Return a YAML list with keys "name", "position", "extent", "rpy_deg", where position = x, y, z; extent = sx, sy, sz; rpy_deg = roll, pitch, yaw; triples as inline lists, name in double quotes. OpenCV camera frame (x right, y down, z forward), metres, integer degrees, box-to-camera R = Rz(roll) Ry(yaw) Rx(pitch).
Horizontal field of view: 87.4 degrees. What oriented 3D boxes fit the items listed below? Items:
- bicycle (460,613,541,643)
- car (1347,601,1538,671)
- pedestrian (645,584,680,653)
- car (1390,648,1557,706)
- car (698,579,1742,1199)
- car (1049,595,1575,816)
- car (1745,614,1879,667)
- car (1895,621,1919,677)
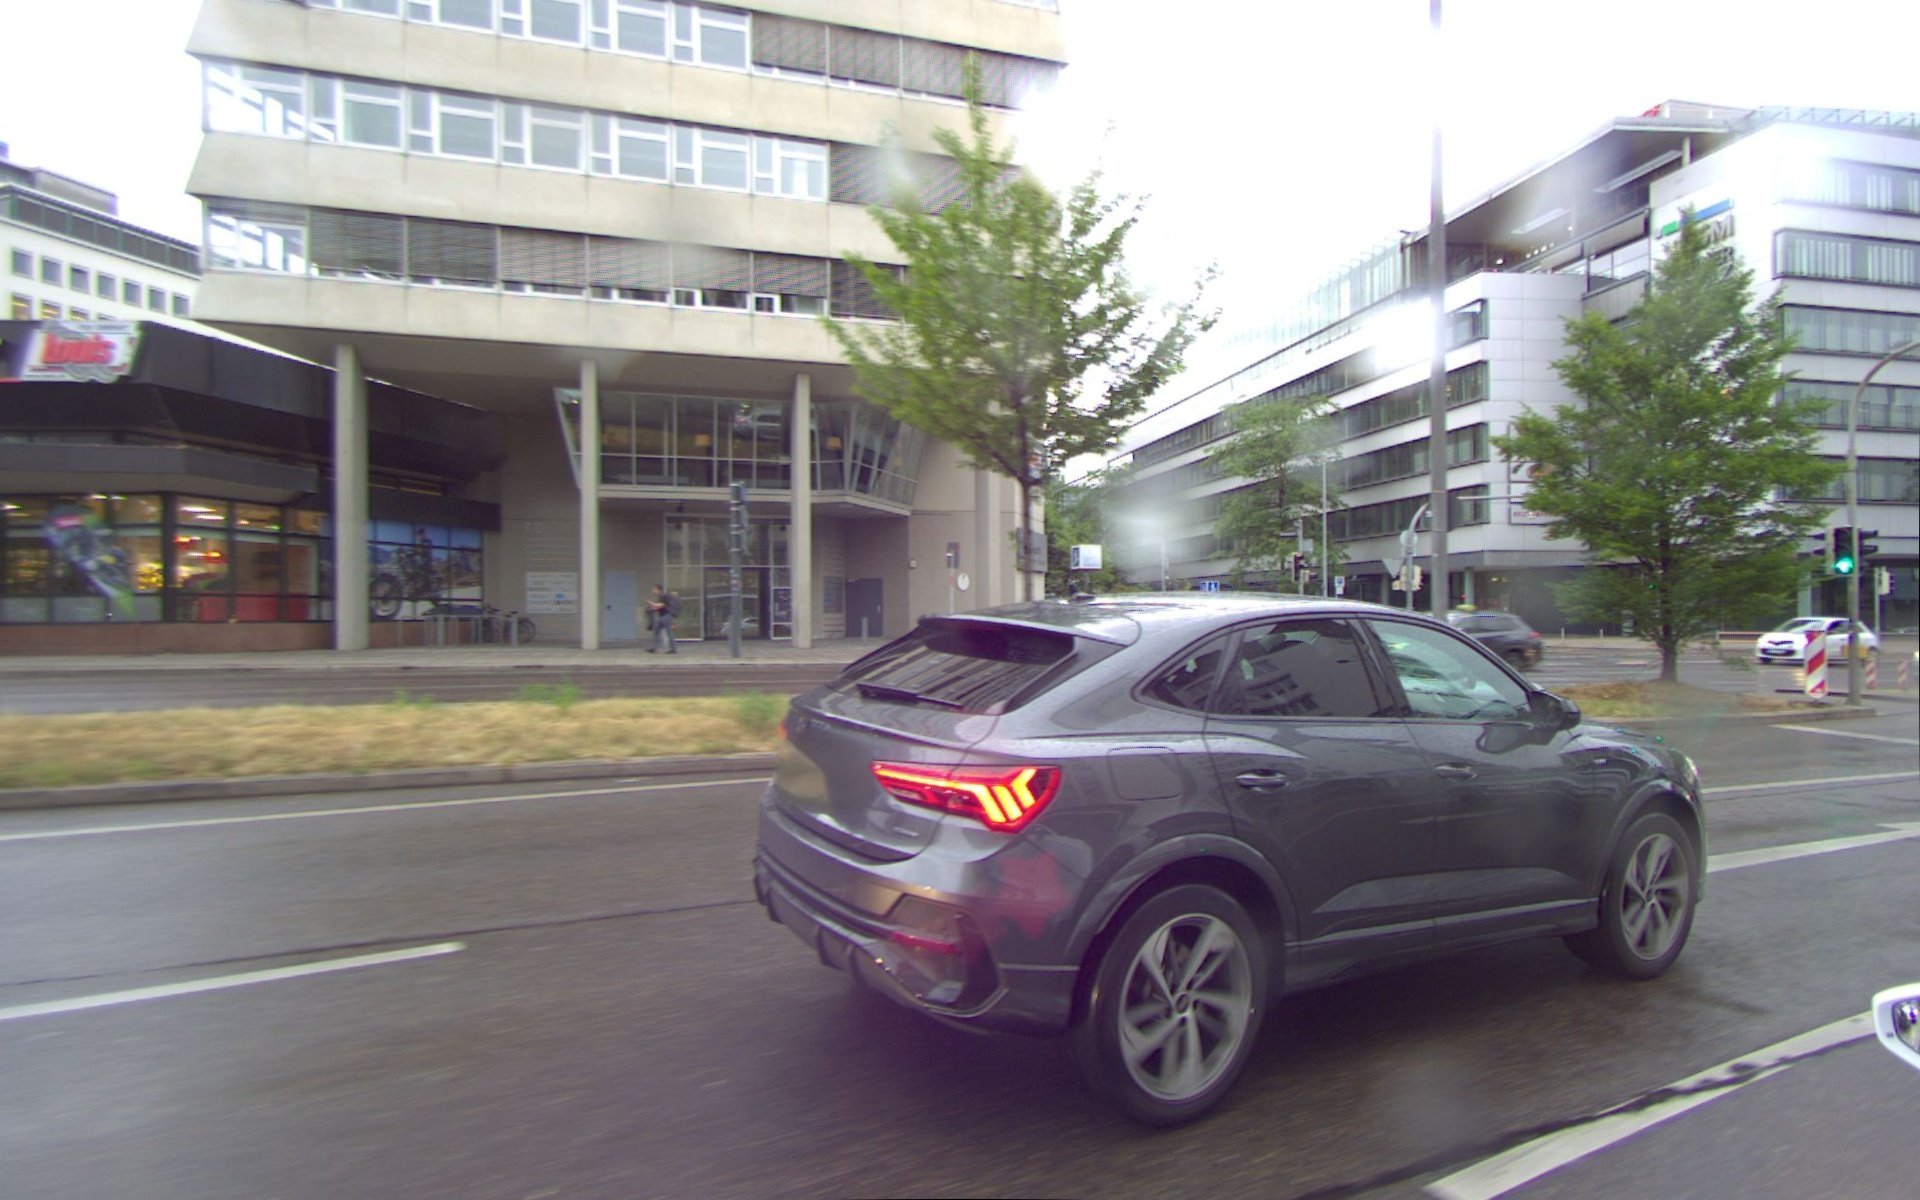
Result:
- name: "bicycle"
  position: [-13.967, 0.856, 30.561]
  extent: [2.168, 0.871, 0.456]
  rpy_deg: [2, 0, -34]
- name: "car"
  position: [11.475, 0.855, 23.934]
  extent: [4.086, 1.556, 1.643]
  rpy_deg: [1, 0, -18]
- name: "pedestrian"
  position: [-7.551, 0.470, 25.481]
  extent: [0.753, 1.706, 0.675]
  rpy_deg: [1, 0, -24]
- name: "car"
  position: [14.300, 2.128, 27.964]
  extent: [4.352, 1.397, 1.856]
  rpy_deg: [2, 0, -26]
- name: "car"
  position: [1.262, 0.757, 4.105]
  extent: [4.222, 1.542, 1.640]
  rpy_deg: [1, 0, -31]
- name: "car"
  position: [3.281, 0.790, 9.105]
  extent: [4.720, 1.554, 1.856]
  rpy_deg: [1, 0, -30]
- name: "car"
  position: [28.333, 1.328, 33.431]
  extent: [3.657, 1.592, 1.638]
  rpy_deg: [2, 0, -16]
- name: "car"
  position: [26.051, 1.312, 25.558]
  extent: [3.808, 1.404, 1.688]
  rpy_deg: [2, 0, -19]
